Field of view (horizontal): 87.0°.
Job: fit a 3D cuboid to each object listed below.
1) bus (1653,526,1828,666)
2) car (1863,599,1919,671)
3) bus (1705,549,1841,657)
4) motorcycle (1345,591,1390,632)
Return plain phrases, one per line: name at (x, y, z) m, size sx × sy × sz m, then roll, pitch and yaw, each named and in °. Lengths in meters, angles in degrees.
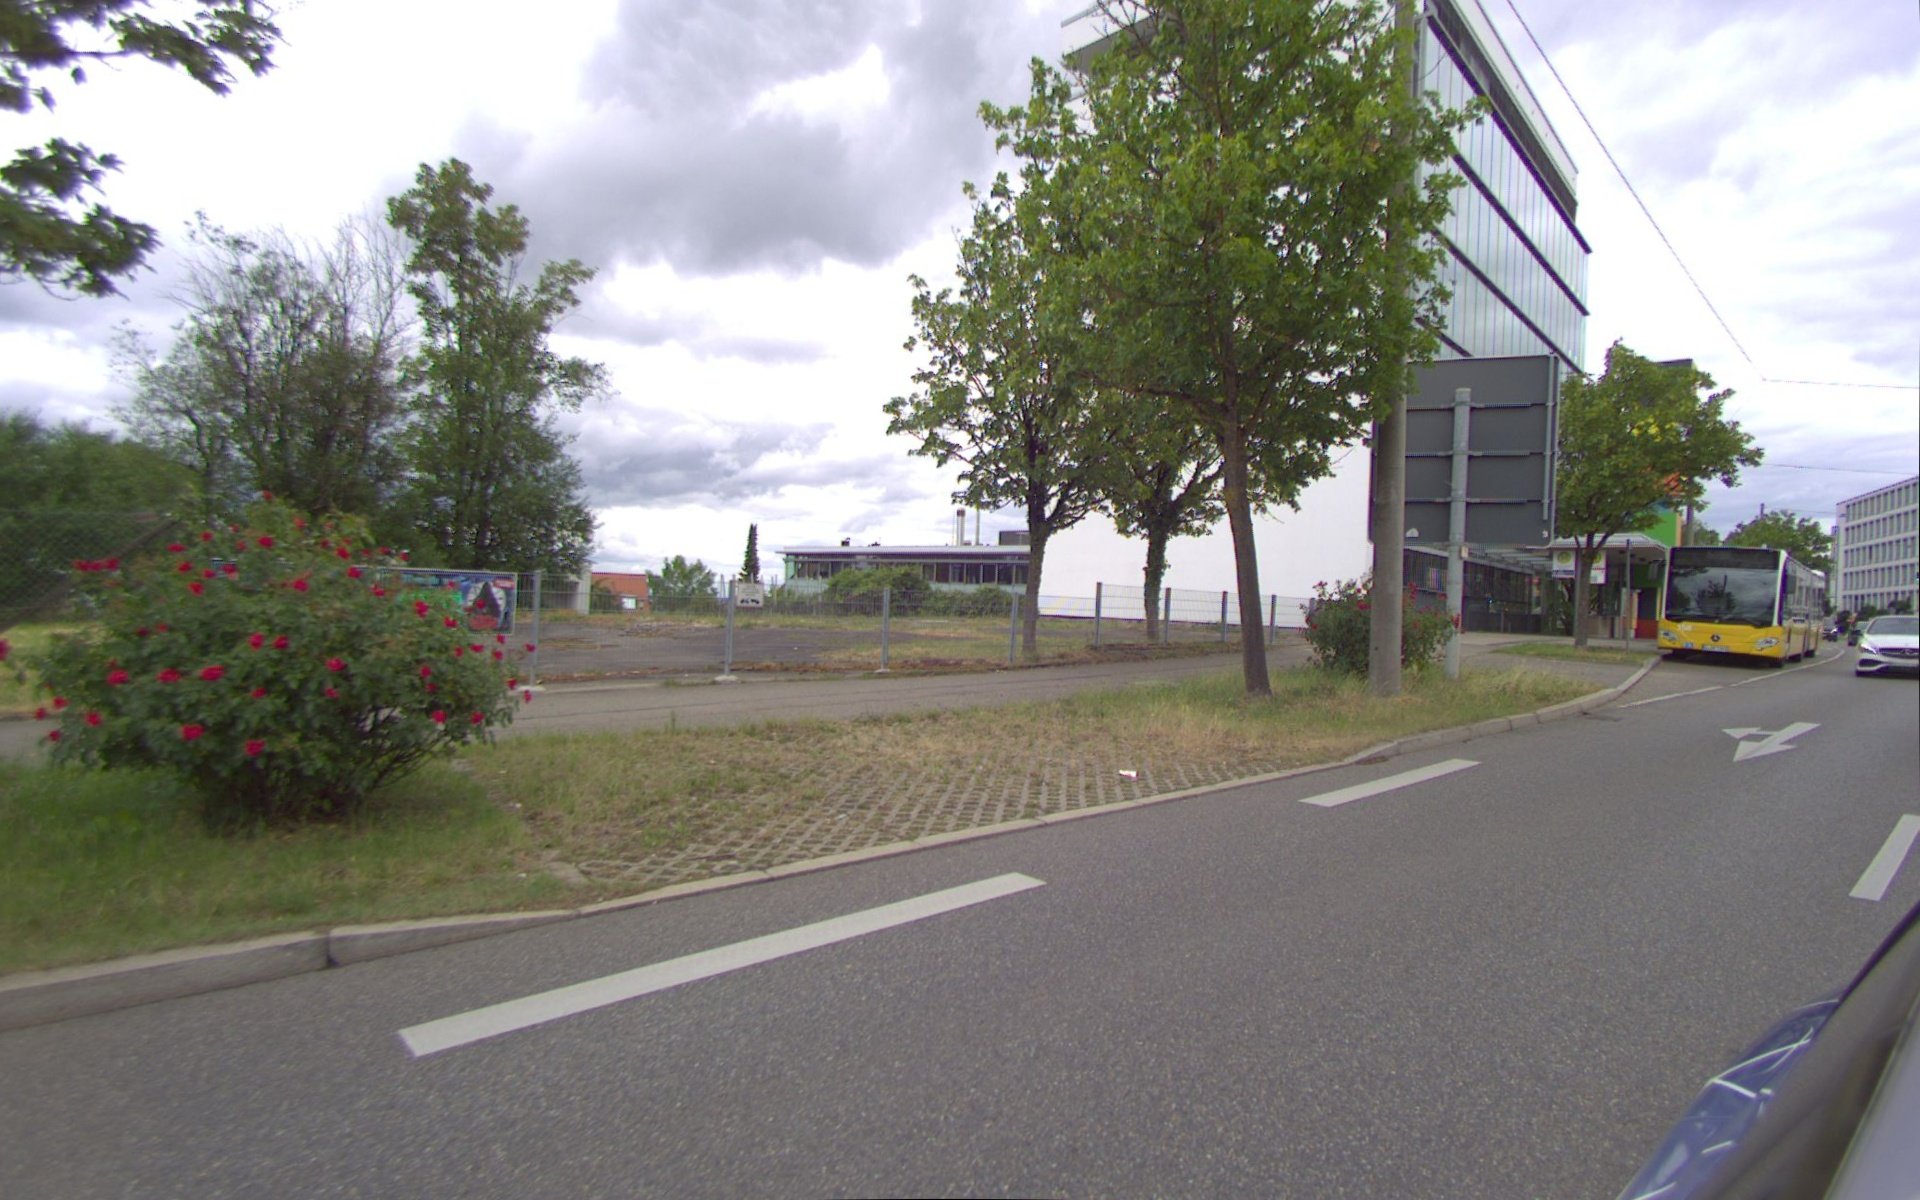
bus at (22.153, -0.123, 28.435) m, size 2.982 × 3.281 × 9.712 m, roll 2°, pitch 1°, yaw 43°
car at (22.577, 0.764, 23.835) m, size 1.867 × 1.524 × 4.699 m, roll 1°, pitch 1°, yaw 43°
bus at (28.490, 0.075, 35.282) m, size 3.035 × 3.276 × 9.193 m, roll 2°, pitch 1°, yaw 42°
motorcycle at (11.646, 0.310, 28.982) m, size 0.811 × 1.129 × 1.737 m, roll 2°, pitch 1°, yaw 10°
